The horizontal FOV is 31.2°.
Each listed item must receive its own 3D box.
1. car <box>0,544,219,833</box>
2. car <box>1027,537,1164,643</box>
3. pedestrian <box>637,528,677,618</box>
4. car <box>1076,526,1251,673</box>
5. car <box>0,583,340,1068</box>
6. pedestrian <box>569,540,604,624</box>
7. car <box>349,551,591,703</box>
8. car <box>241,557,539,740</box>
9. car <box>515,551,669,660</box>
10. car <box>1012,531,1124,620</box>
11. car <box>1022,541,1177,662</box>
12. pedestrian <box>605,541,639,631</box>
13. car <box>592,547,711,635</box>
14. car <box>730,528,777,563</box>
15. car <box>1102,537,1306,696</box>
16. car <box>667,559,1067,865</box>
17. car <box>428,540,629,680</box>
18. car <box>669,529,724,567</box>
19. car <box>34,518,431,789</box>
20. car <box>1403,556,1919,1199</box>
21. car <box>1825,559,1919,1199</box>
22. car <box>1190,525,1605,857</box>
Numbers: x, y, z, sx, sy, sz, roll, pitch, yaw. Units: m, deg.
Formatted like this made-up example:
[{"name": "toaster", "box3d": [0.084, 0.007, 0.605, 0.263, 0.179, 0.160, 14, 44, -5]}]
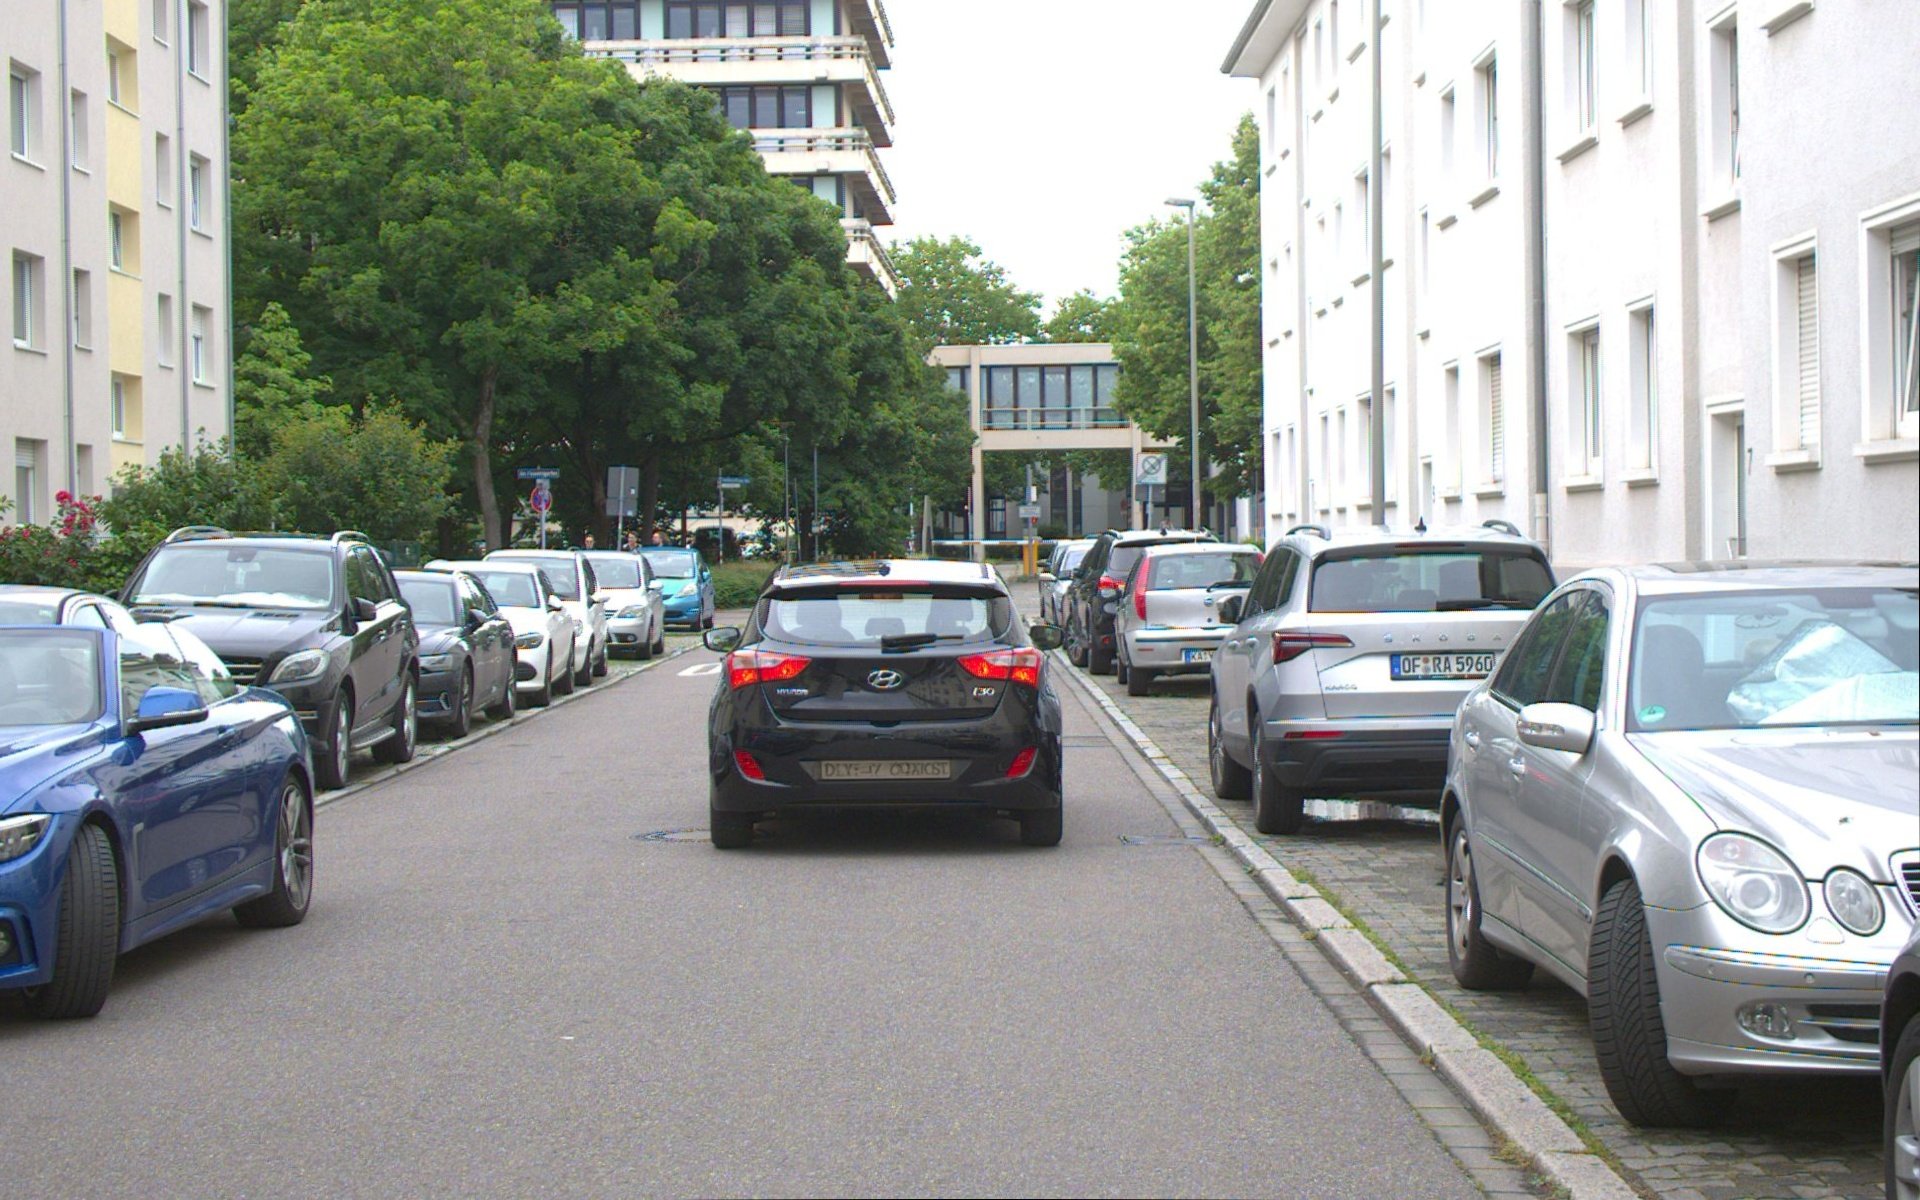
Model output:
[{"name": "car", "box3d": [-5.472, 0.430, 19.419, 1.744, 1.459, 3.786, -1, 1, 0]}, {"name": "car", "box3d": [2.004, -0.186, 52.009, 1.820, 1.514, 4.674, -1, 1, -1]}, {"name": "pedestrian", "box3d": [-6.174, -0.549, 70.117, 0.714, 1.825, 0.797, 0, 1, 2]}, {"name": "car", "box3d": [2.306, -0.046, 39.899, 1.820, 1.597, 4.091, -1, 1, 1]}, {"name": "car", "box3d": [-3.702, 0.690, 12.946, 1.845, 1.446, 4.501, 0, 1, 1]}, {"name": "pedestrian", "box3d": [-7.605, -0.374, 70.005, 0.600, 1.707, 0.648, 0, 1, 2]}, {"name": "car", "box3d": [-5.117, 0.238, 36.481, 1.895, 1.447, 4.521, 2, 1, 0]}, {"name": "car", "box3d": [-5.060, 0.377, 31.116, 1.895, 1.447, 4.666, 2, 1, 0]}, {"name": "car", "box3d": [-5.404, 0.049, 50.915, 1.993, 1.536, 4.001, 0, 1, -2]}, {"name": "car", "box3d": [1.913, -0.442, 62.098, 1.820, 1.514, 4.673, -1, 0, 0]}, {"name": "car", "box3d": [1.814, -0.023, 46.056, 1.820, 1.514, 4.674, -1, 1, -1]}, {"name": "pedestrian", "box3d": [-6.912, -0.297, 70.352, 0.605, 1.825, 0.675, 0, 1, 2]}, {"name": "car", "box3d": [-5.637, -0.187, 63.234, 1.993, 1.536, 4.001, 0, 1, -2]}, {"name": "car", "box3d": [-8.087, -2.154, 134.888, 1.665, 1.328, 3.396, 0, 1, 0]}, {"name": "car", "box3d": [2.432, 0.120, 35.188, 1.820, 1.498, 4.091, -1, 1, 1]}, {"name": "car", "box3d": [-0.428, 0.513, 18.665, 1.903, 1.428, 4.233, -1, 1, 1]}, {"name": "car", "box3d": [-5.284, 0.080, 42.604, 1.895, 1.593, 4.521, 2, 1, 0]}, {"name": "car", "box3d": [-9.289, -1.846, 121.462, 1.665, 1.328, 3.396, 0, 1, 0]}, {"name": "car", "box3d": [-5.154, 0.318, 24.963, 1.895, 1.734, 4.475, 2, 1, 0]}, {"name": "car", "box3d": [2.447, 0.621, 10.074, 1.725, 1.471, 4.505, 0, 1, 0]}, {"name": "car", "box3d": [2.592, 0.688, 5.163, 1.603, 1.471, 3.869, 0, 1, 0]}, {"name": "car", "box3d": [2.302, 0.414, 19.068, 1.820, 1.636, 4.091, 0, 1, 1]}]
